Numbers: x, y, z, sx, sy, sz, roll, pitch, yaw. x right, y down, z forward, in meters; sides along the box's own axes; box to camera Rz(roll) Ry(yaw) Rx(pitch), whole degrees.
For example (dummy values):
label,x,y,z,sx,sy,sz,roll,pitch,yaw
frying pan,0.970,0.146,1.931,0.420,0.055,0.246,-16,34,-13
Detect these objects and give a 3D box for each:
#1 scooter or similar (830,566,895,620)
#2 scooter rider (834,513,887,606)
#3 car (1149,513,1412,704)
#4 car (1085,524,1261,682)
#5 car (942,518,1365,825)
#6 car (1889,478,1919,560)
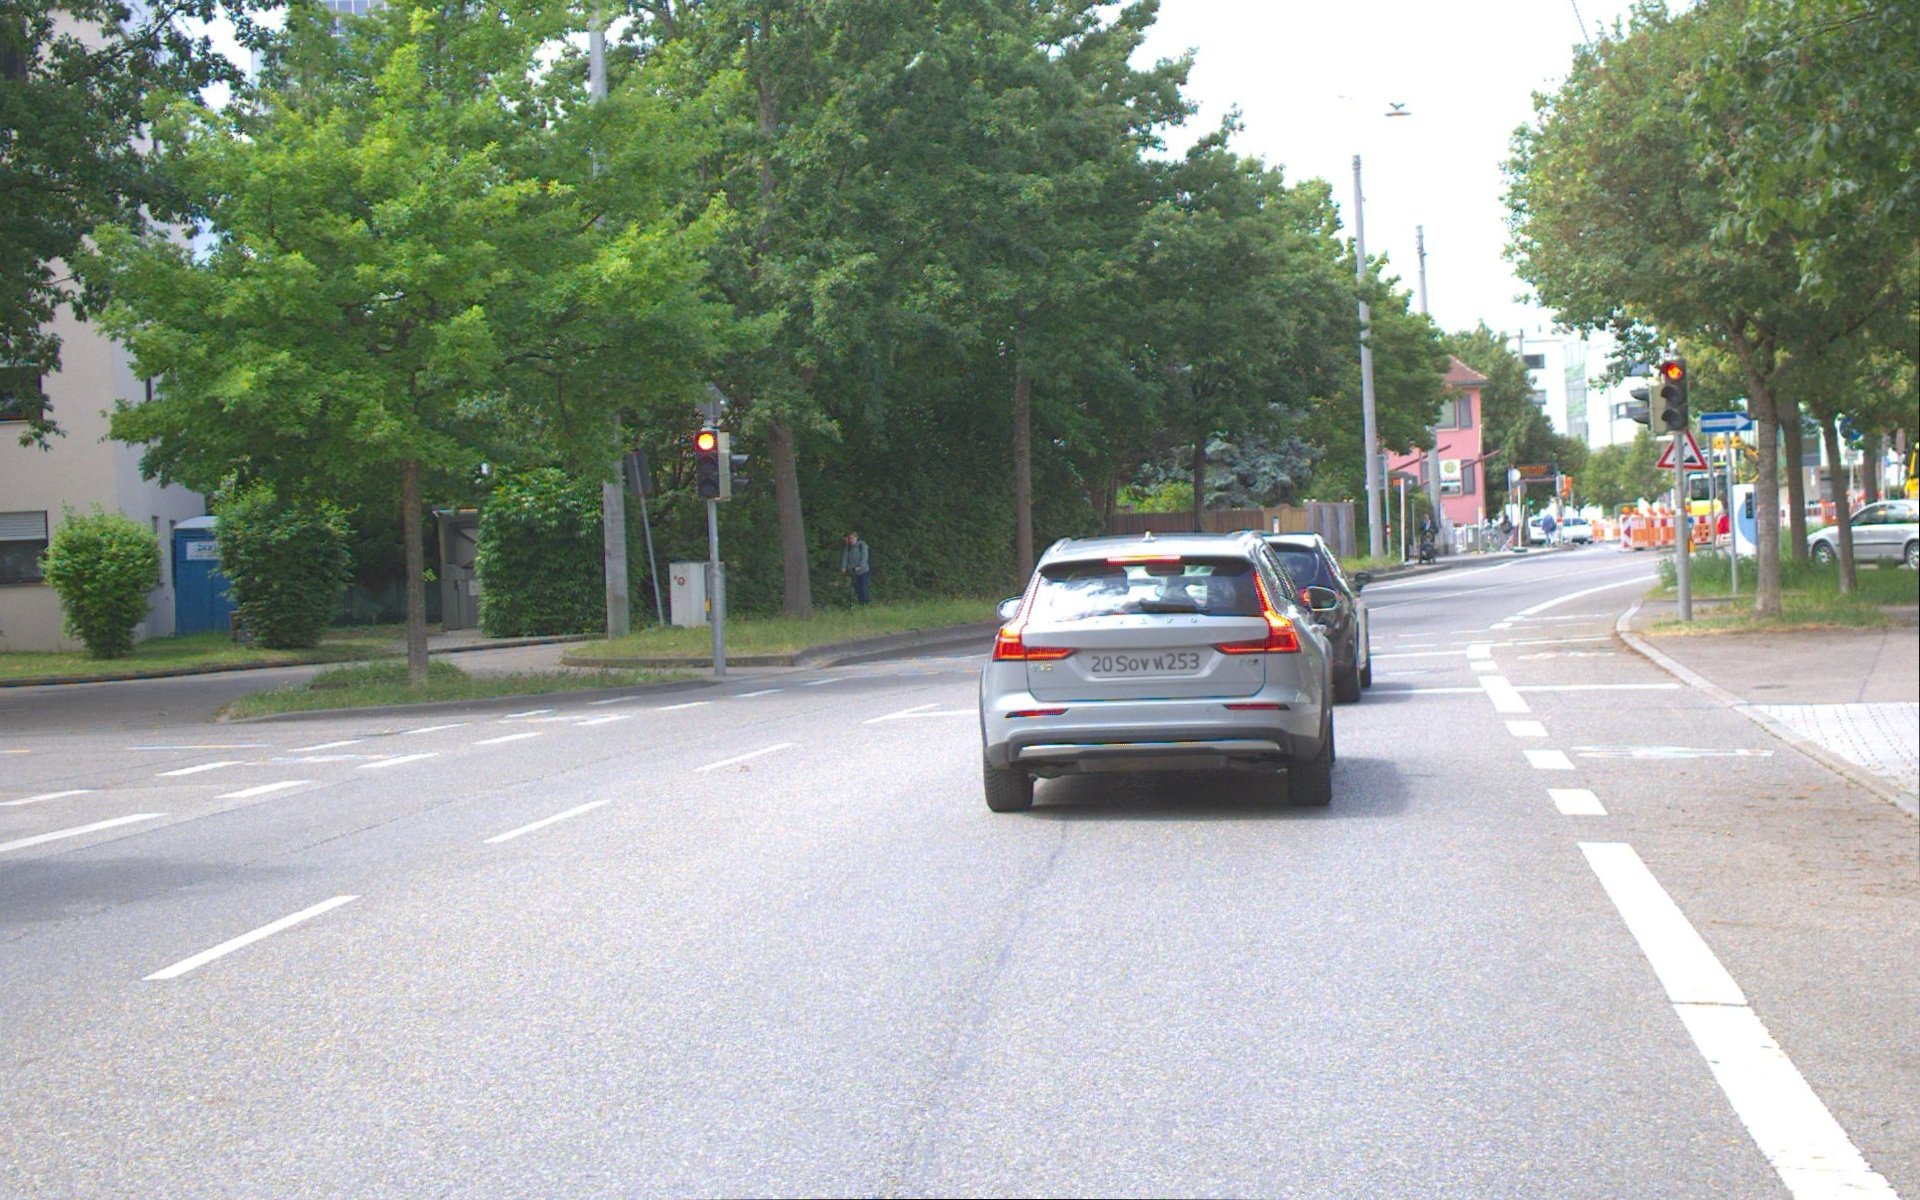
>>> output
label,x,y,z,sx,sy,sz,roll,pitch,yaw
scooter or similar,-1.821,-0.133,64.058,0.952,0.958,0.690,-2,0,-32
scooter rider,-1.858,-0.751,64.055,0.705,1.721,0.680,-1,0,-31
car,2.880,0.021,30.099,1.805,1.518,4.327,1,1,12
car,2.331,0.029,38.053,1.804,1.611,4.328,1,0,3
car,1.226,0.320,19.583,1.956,1.518,4.328,-1,1,9
car,25.274,-2.053,86.160,3.755,2.007,1.742,-1,0,-34
